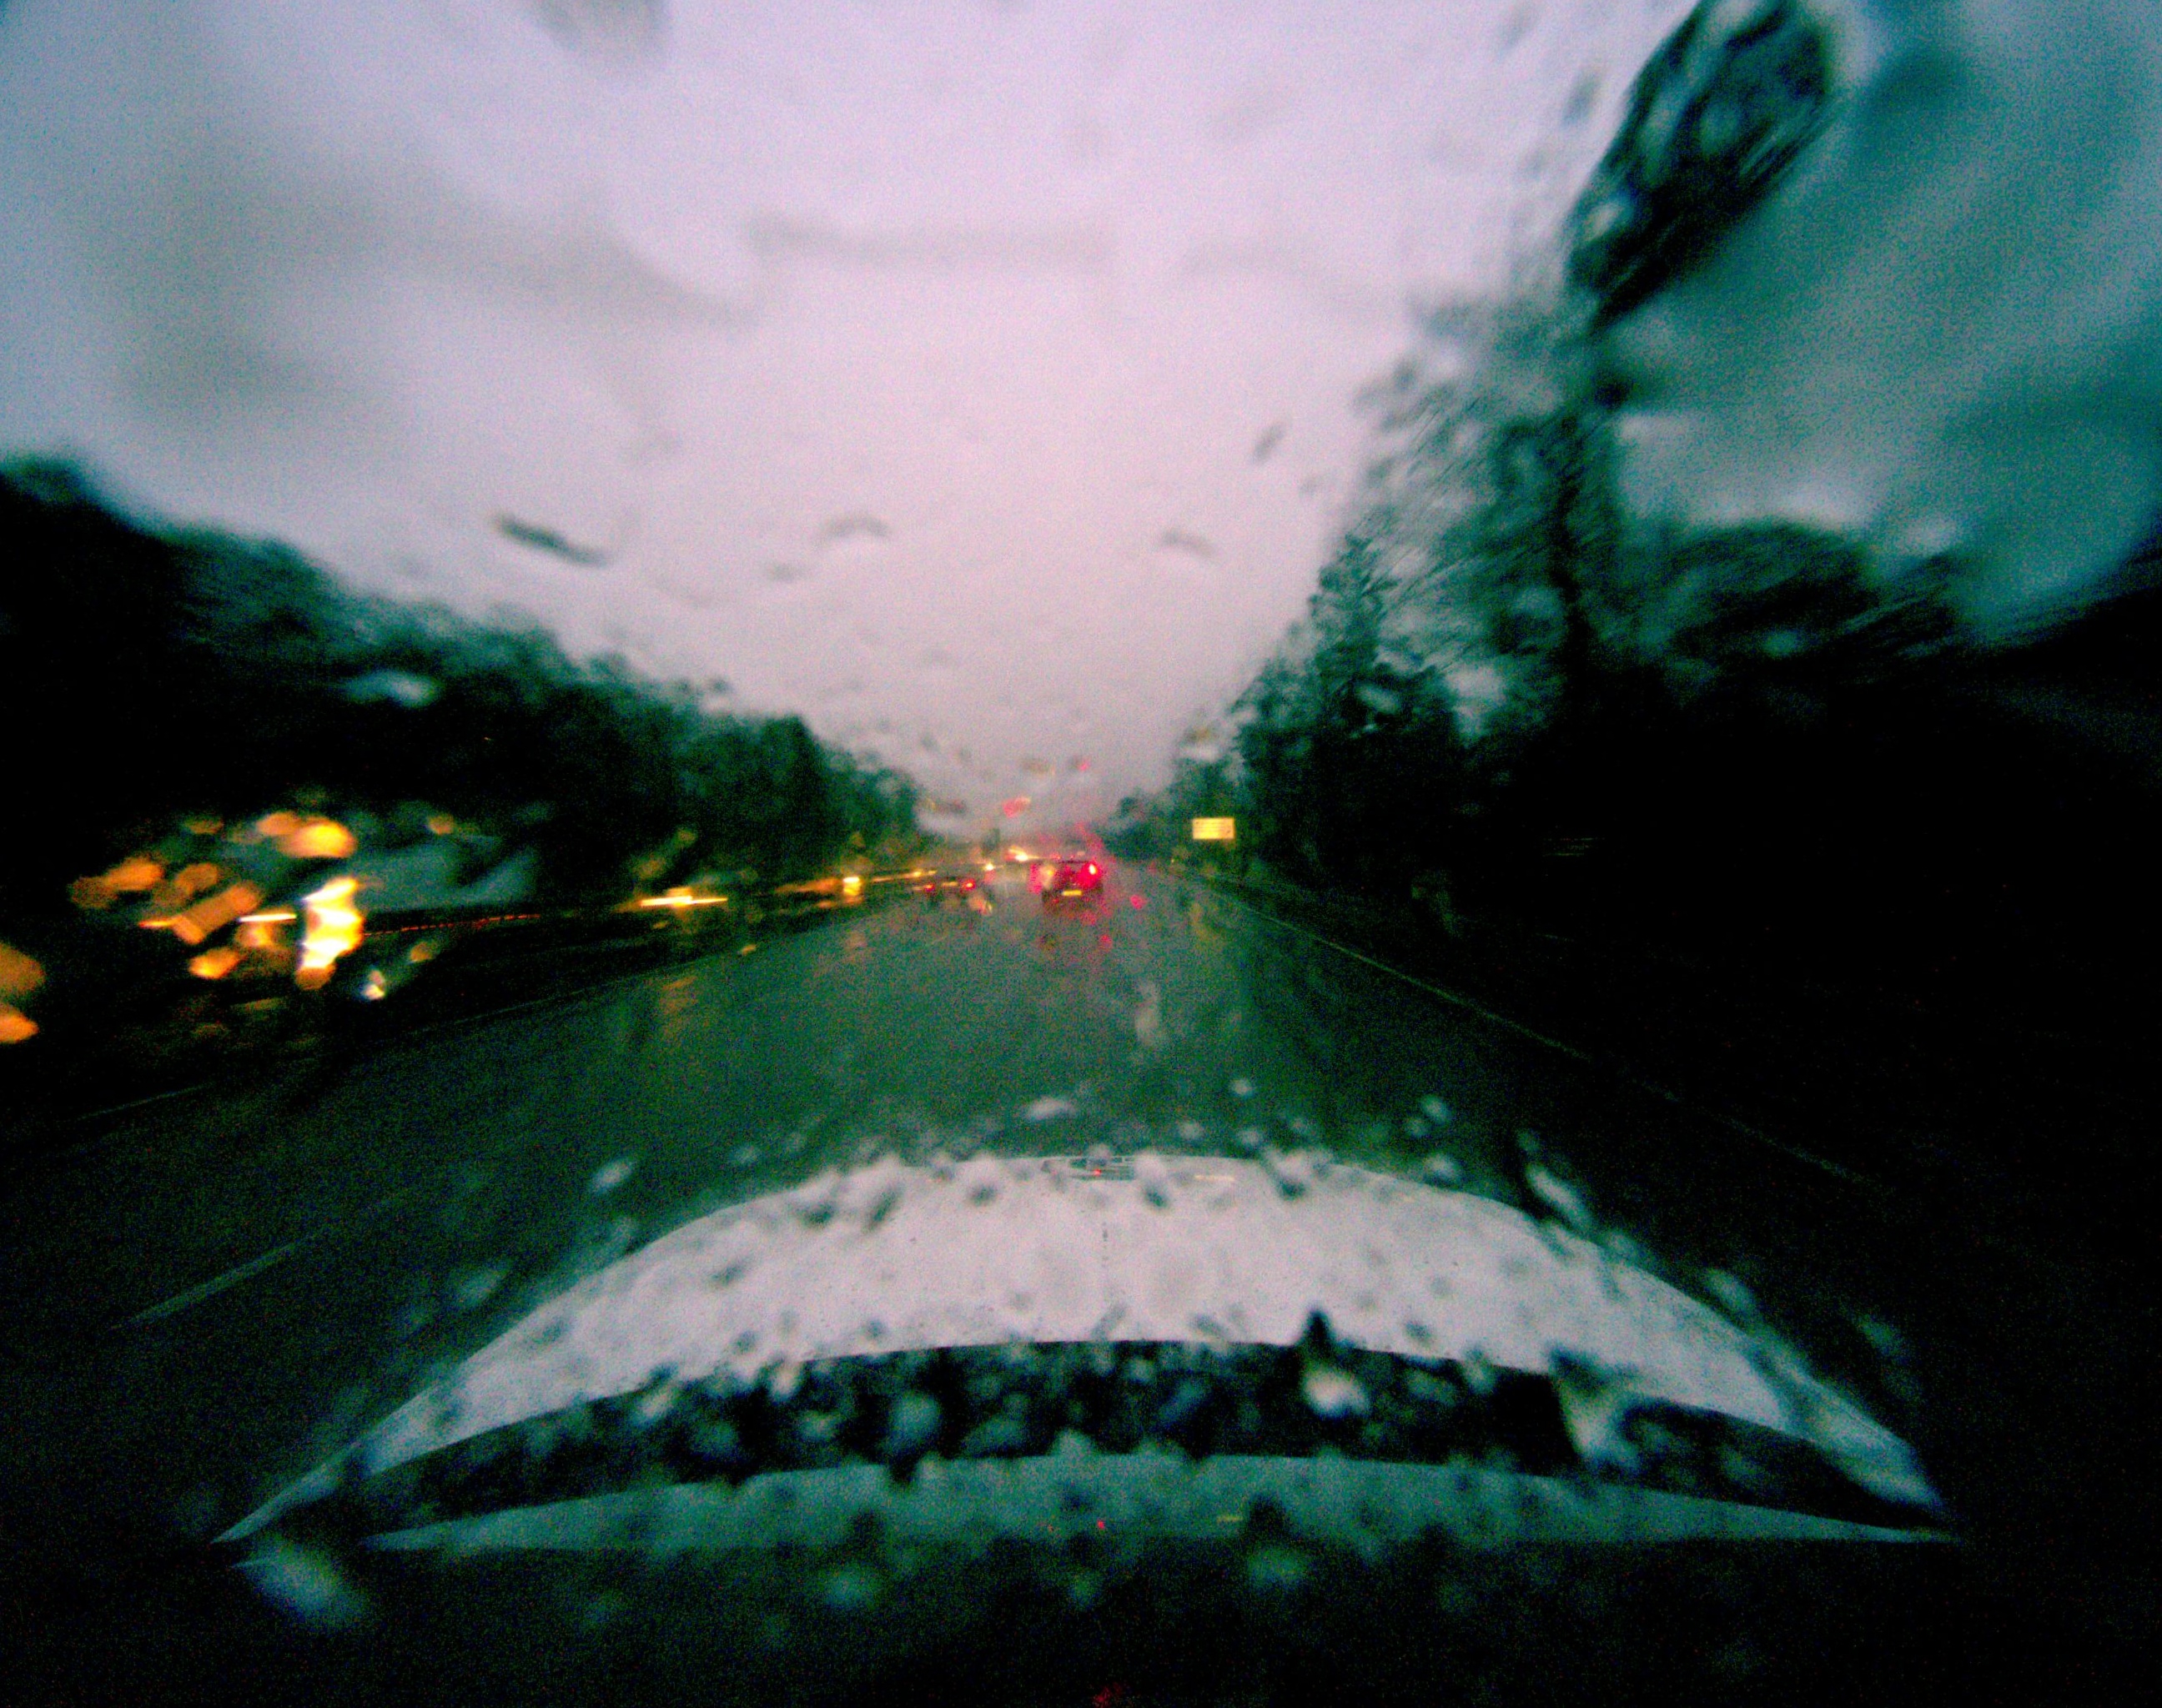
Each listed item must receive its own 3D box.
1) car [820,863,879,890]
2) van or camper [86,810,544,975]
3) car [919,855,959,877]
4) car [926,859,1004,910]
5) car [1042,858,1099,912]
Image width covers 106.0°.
[{"bbox_3d":[-13.134,1.253,46.469,1.888,1.360,4.211,1,0,3],"label":"car"},{"bbox_3d":[-14.586,0.599,16.605,2.068,2.571,7.408,1,0,2],"label":"van or camper"},{"bbox_3d":[-12.085,0.959,69.553,1.983,1.753,4.908,1,0,6],"label":"car"},{"bbox_3d":[-3.934,0.989,28.400,1.769,1.534,4.705,-3,0,2],"label":"car"},{"bbox_3d":[-0.252,0.846,23.940,1.522,1.415,3.480,1,0,1],"label":"car"}]
